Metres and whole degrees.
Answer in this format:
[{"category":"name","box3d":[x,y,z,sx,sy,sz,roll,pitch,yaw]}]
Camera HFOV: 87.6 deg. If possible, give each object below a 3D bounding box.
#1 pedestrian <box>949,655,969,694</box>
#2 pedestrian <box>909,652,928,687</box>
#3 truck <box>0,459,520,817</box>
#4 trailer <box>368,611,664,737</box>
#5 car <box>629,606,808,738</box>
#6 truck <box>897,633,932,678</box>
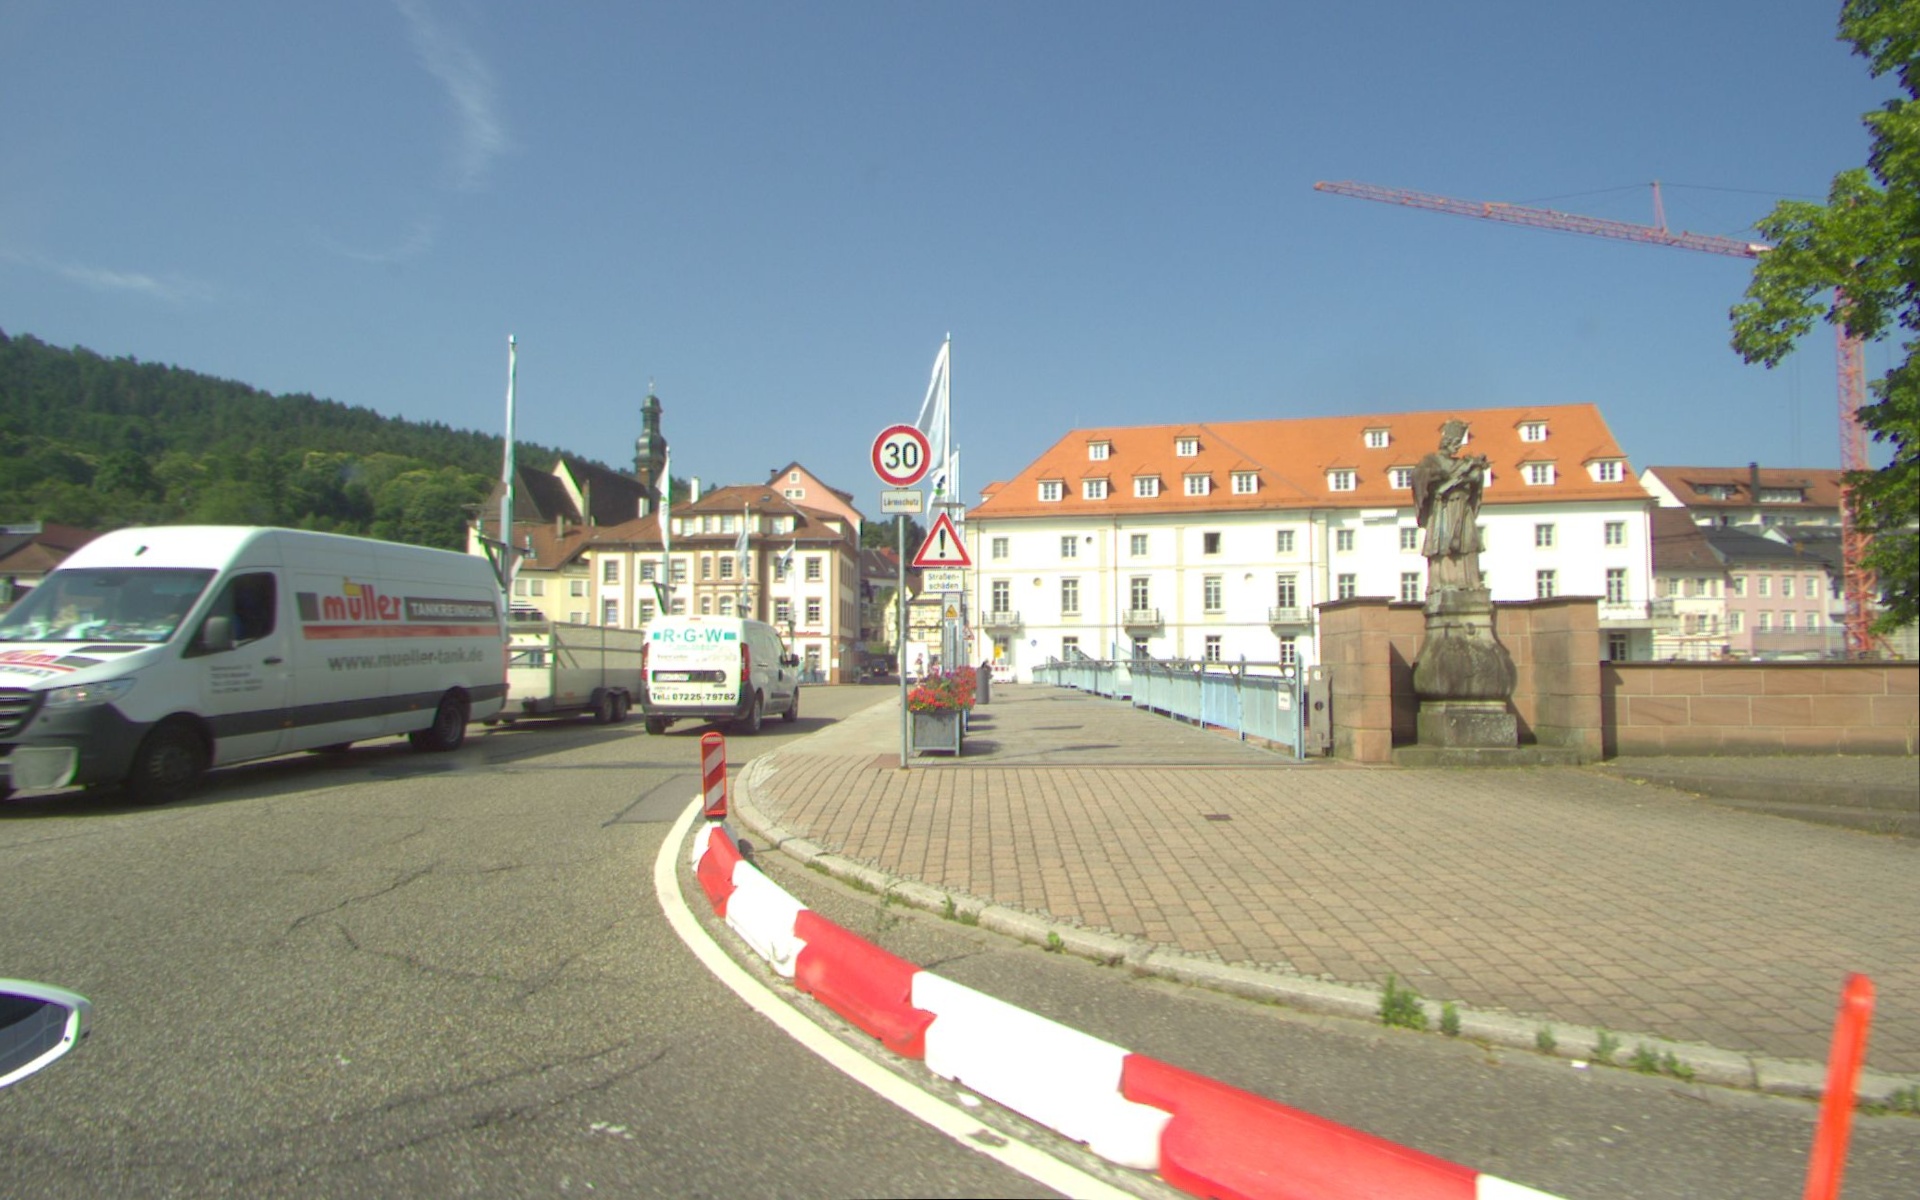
[{"category":"pedestrian","box3d":[-0.046,3.124,42.201,0.657,1.638,0.562,2,-3,-20]},{"category":"pedestrian","box3d":[-2.088,3.536,50.701,0.736,1.744,0.725,2,-3,-26]},{"category":"truck","box3d":[-7.667,0.459,11.236,2.070,2.732,7.138,0,-3,2]},{"category":"trailer","box3d":[-7.417,1.252,17.667,2.568,1.850,5.642,0,-3,2]},{"category":"car","box3d":[-3.930,1.194,17.110,1.814,1.929,4.318,1,-3,3]},{"category":"truck","box3d":[-2.725,3.409,60.568,1.831,2.616,4.265,1,-4,1]}]
